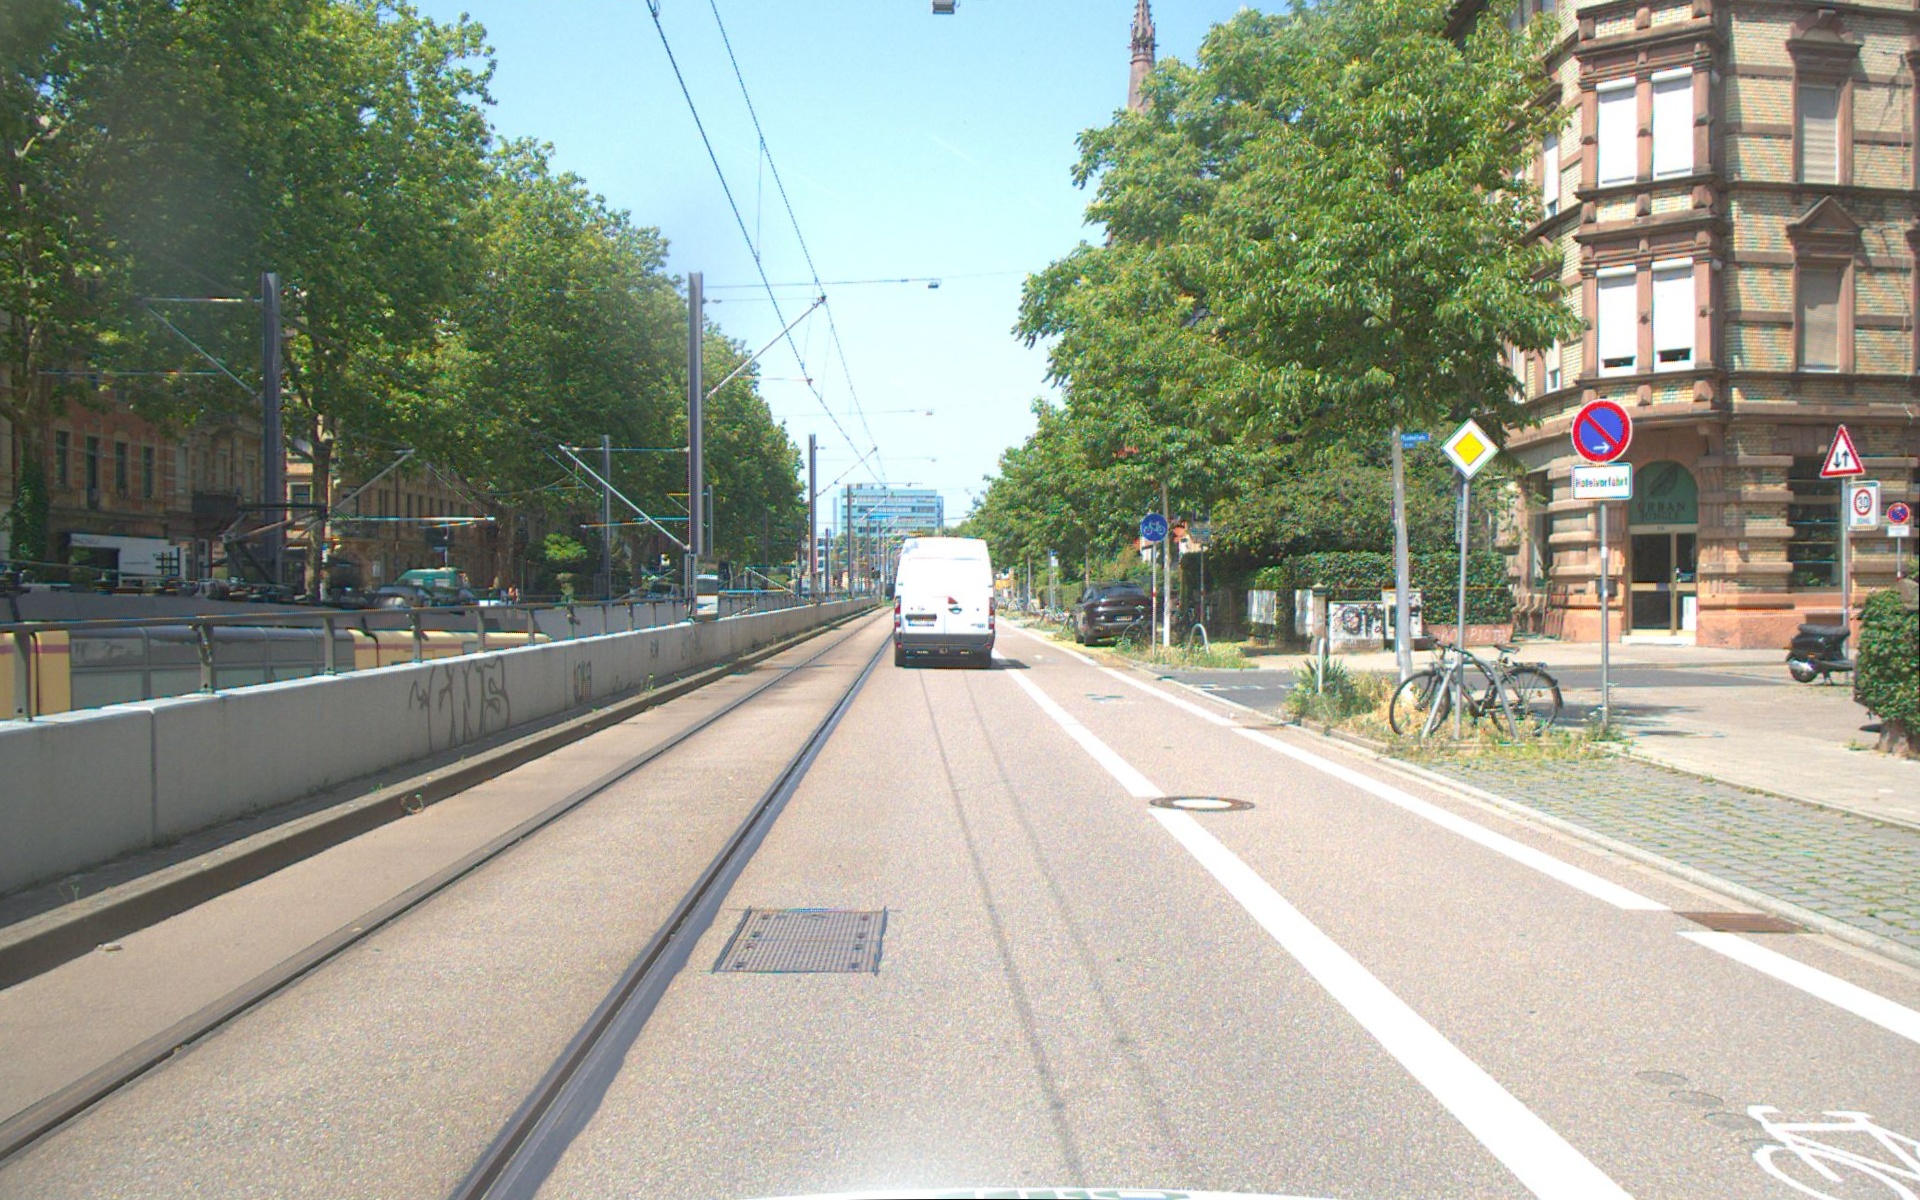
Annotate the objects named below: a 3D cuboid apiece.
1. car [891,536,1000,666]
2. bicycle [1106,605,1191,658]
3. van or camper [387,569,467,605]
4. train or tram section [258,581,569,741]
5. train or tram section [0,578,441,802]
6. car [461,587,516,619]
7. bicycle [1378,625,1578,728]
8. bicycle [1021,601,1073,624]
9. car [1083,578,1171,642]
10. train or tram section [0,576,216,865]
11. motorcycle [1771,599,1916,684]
[{"bbox_3d":[-0.382,0.002,34.432,2.075,2.502,5.052,0,0,-3],"label":"car"},{"bbox_3d":[4.284,0.713,37.681,1.850,1.202,0.640,0,0,-3],"label":"bicycle"},{"bbox_3d":[-30.171,-0.730,93.748,3.908,2.049,1.999,0,0,-4],"label":"van or camper"},{"bbox_3d":[-9.965,0.944,31.588,2.673,2.552,10.088,0,0,-1],"label":"train or tram section"},{"bbox_3d":[-9.903,1.000,23.136,2.673,2.552,8.490,0,0,-1],"label":"train or tram section"},{"bbox_3d":[-25.778,0.122,90.521,1.953,1.713,3.999,0,0,-2],"label":"car"},{"bbox_3d":[5.070,0.746,16.223,1.804,0.970,0.503,0,0,0],"label":"bicycle"},{"bbox_3d":[3.515,0.479,66.189,1.526,0.841,4.004,0,0,11],"label":"bicycle"},{"bbox_3d":[4.594,0.252,46.021,2.112,1.699,4.001,0,0,1],"label":"car"},{"bbox_3d":[-9.811,1.055,14.878,2.673,2.552,8.002,0,0,-1],"label":"train or tram section"},{"bbox_3d":[12.572,0.571,23.589,0.503,1.143,1.869,0,0,-28],"label":"motorcycle"}]
